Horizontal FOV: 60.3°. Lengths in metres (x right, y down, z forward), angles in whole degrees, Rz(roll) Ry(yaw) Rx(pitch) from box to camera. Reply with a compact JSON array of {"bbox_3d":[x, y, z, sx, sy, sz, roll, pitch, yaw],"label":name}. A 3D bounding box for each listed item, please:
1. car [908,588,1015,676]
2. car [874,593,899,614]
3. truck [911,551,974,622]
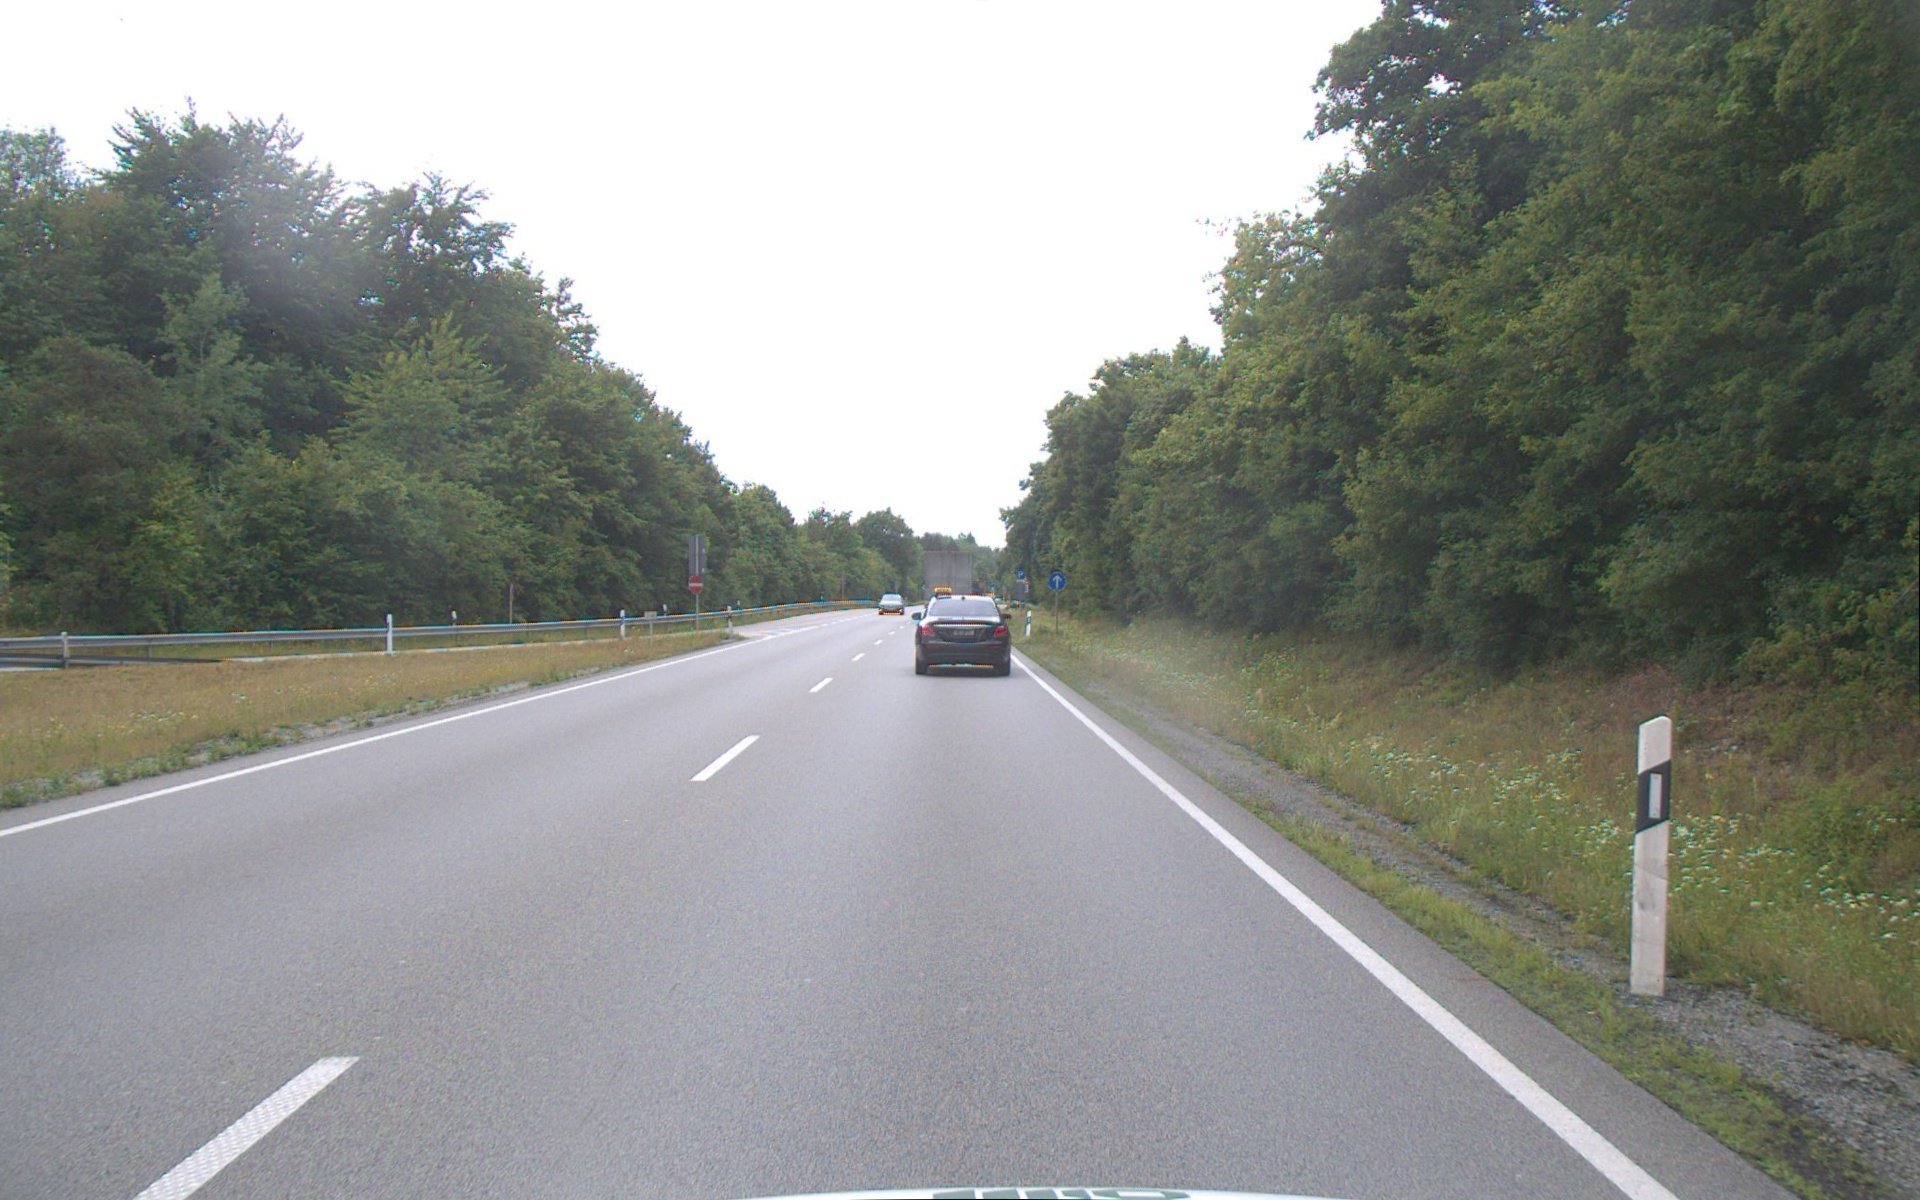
[{"bbox_3d":[-0.030,0.577,31.864,1.756,1.579,3.997,1,0,-4],"label":"car"},{"bbox_3d":[-5.417,0.257,122.304,1.772,1.467,4.445,1,0,-2],"label":"car"},{"bbox_3d":[-0.935,-0.718,91.611,3.214,3.675,11.399,1,0,0],"label":"truck"}]
